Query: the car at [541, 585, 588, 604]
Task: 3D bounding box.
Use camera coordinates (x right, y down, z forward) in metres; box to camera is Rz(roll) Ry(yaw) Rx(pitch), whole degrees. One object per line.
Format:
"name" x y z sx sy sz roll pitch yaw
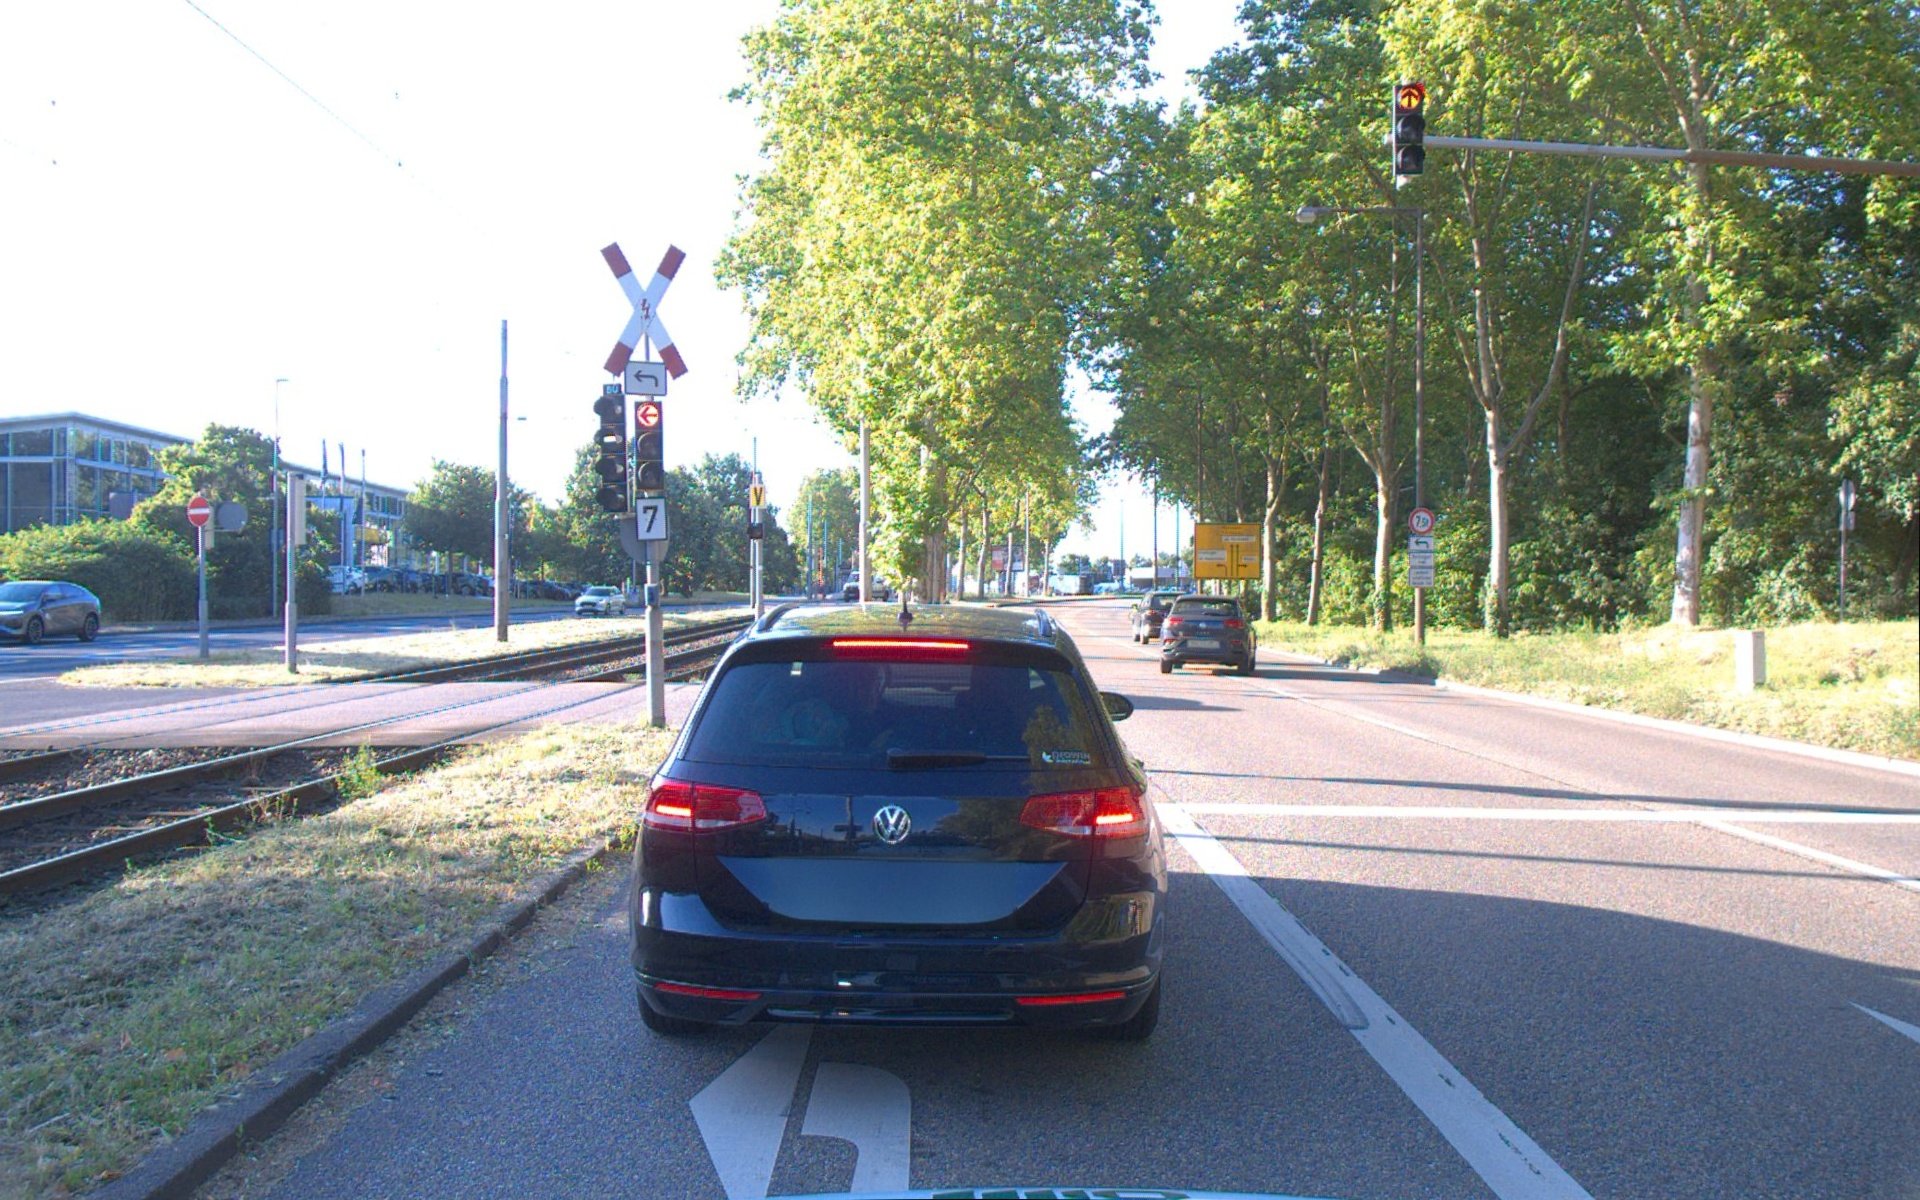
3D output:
"car" -35.513 -0.531 148.551 3.909 1.649 1.742 1 0 -6

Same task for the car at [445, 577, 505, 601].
"car" -35.567 -0.805 121.274 3.909 1.649 1.742 1 0 -6

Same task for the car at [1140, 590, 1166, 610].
"car" 23.600 0.017 201.759 2.051 2.361 5.855 1 1 18

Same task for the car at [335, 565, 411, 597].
"car" -32.907 -1.041 92.735 3.930 1.734 1.732 1 0 -22

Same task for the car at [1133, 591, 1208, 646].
"car" 6.660 0.561 52.679 1.834 1.663 4.370 0 0 0

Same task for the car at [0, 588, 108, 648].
"car" -25.190 0.443 44.960 1.823 1.507 4.172 1 1 1

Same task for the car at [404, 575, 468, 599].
"car" -36.035 -0.861 113.820 3.913 1.583 1.740 1 0 -9

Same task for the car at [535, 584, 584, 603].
"car" -35.215 -0.557 145.393 3.909 1.649 1.742 1 0 -6

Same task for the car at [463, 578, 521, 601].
"car" -35.236 -0.764 124.490 3.909 1.649 1.742 1 0 -6

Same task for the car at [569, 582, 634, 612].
"car" -19.173 -0.165 88.623 1.822 1.507 4.095 1 1 12

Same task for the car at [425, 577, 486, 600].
"car" -35.775 -0.822 117.343 3.911 1.583 1.741 1 0 -7

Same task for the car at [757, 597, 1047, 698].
"car" -0.789 0.646 23.743 3.936 1.317 1.594 1 0 -35

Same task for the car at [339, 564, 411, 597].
"car" -34.439 -1.114 97.299 3.930 1.848 1.732 1 0 -22

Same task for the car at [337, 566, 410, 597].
"car" -33.690 -1.051 94.973 3.930 1.734 1.732 1 0 -22

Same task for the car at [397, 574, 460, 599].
"car" -35.704 -0.882 111.125 3.930 1.583 1.732 1 0 -22

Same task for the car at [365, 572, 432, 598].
"car" -35.539 -0.948 104.730 3.930 1.583 1.732 1 0 -22

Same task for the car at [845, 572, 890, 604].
"car" -7.477 -0.990 134.122 2.050 2.504 5.857 1 1 13

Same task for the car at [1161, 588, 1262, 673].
"car" 5.167 0.576 33.594 1.671 1.588 4.169 1 0 13

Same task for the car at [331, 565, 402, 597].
"car" -35.545 -1.146 99.037 3.930 1.848 1.732 1 0 -22

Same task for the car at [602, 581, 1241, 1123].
"car" -0.140 0.703 6.409 1.758 1.490 3.582 1 0 -1

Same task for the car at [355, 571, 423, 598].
"car" -35.198 -0.975 101.952 3.930 1.583 1.732 1 0 -22
